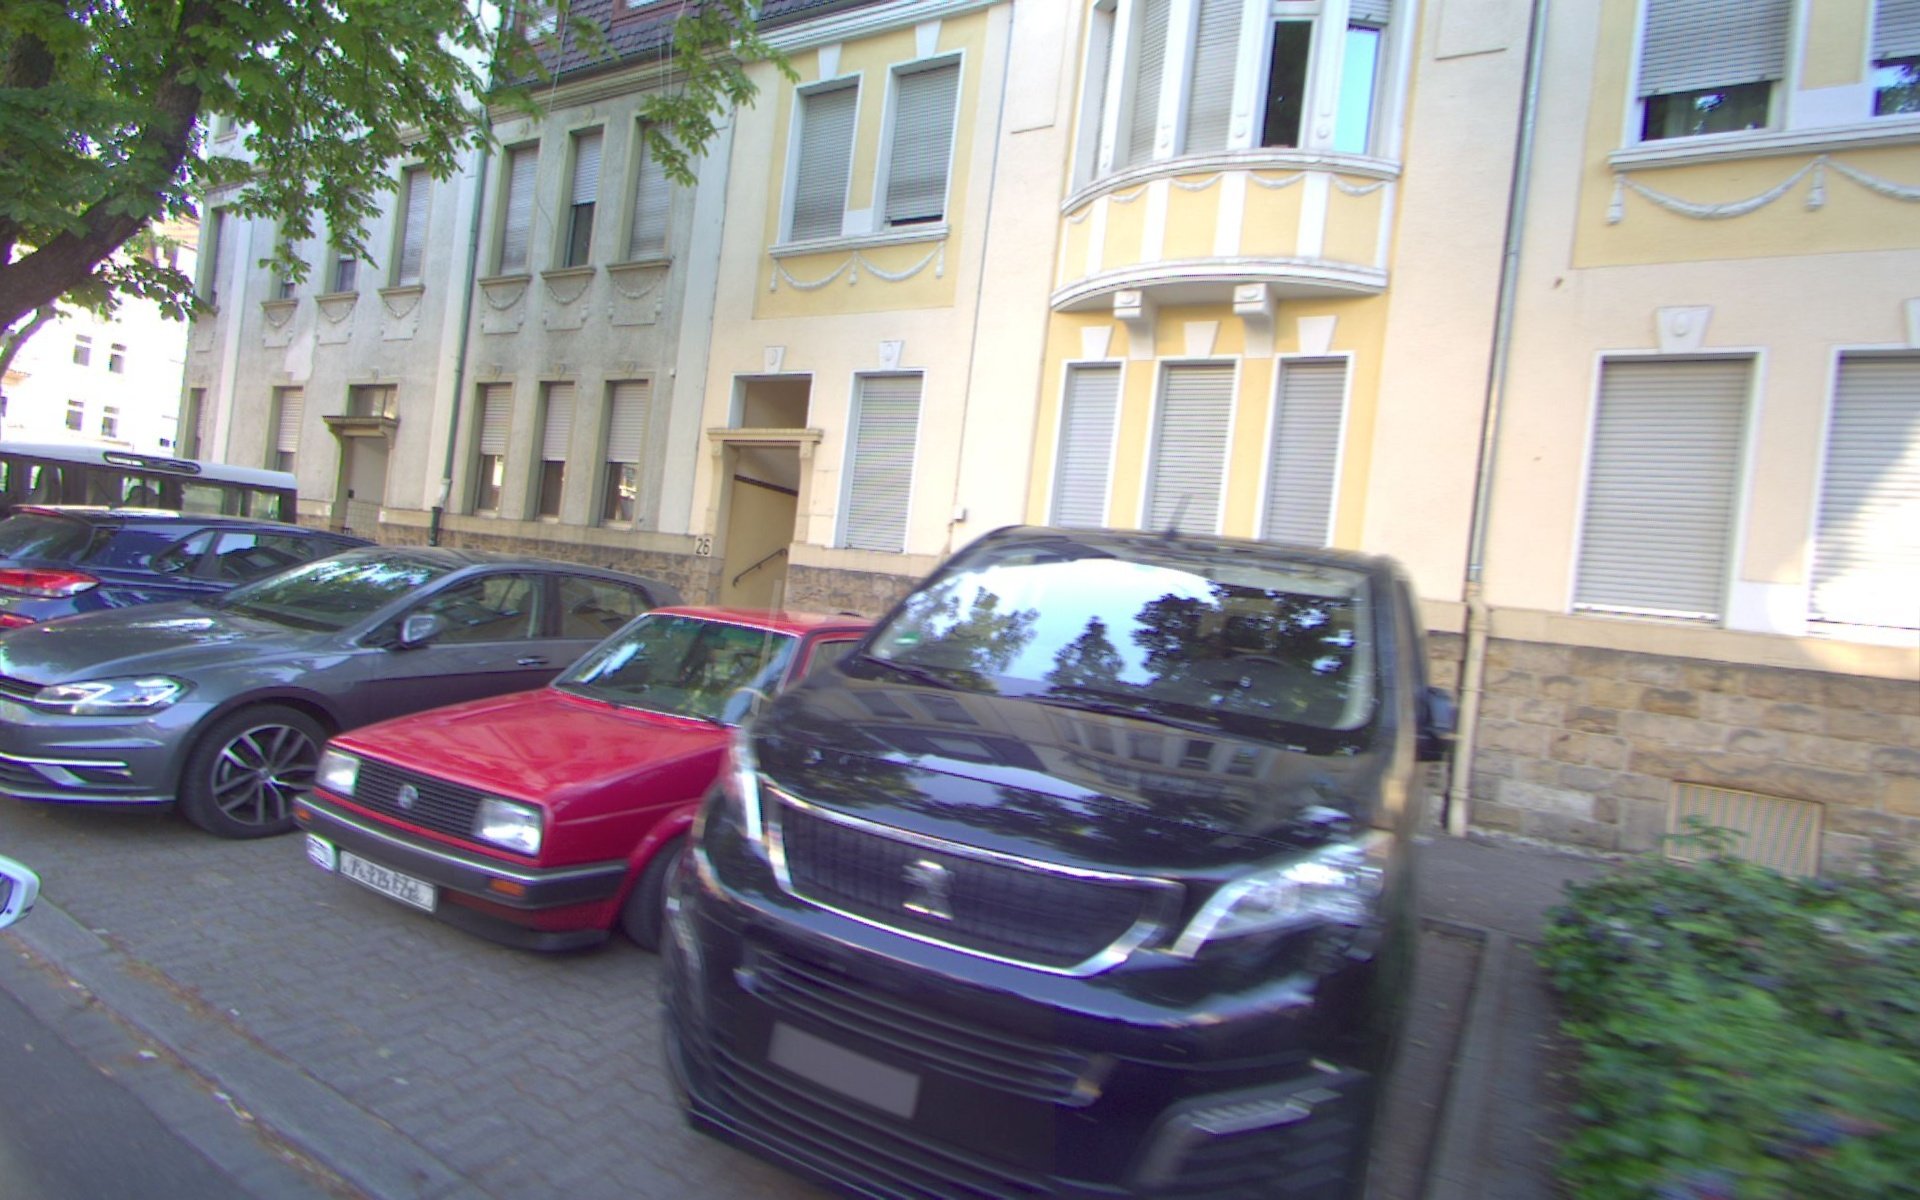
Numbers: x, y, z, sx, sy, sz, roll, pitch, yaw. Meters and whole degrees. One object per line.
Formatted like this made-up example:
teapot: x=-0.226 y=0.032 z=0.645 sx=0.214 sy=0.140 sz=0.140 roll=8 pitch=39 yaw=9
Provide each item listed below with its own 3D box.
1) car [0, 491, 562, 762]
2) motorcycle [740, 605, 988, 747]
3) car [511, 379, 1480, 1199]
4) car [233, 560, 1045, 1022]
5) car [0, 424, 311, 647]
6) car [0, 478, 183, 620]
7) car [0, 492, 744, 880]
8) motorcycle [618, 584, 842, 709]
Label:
car: x=-5.089 y=0.171 z=7.402 sx=1.679 sy=1.470 sz=3.730 roll=7 pitch=0 yaw=28
motorcycle: x=-1.041 y=0.747 z=10.605 sx=2.439 sy=1.087 sz=0.959 roll=7 pitch=2 yaw=32
car: x=0.913 y=0.656 z=4.081 sx=1.864 sy=1.898 sz=4.759 roll=7 pitch=0 yaw=27
car: x=-1.125 y=0.708 z=5.384 sx=1.601 sy=1.332 sz=4.145 roll=7 pitch=0 yaw=27
car: x=-9.607 y=-0.678 z=10.418 sx=1.671 sy=2.061 sz=4.473 roll=7 pitch=0 yaw=28
car: x=-11.981 y=-0.714 z=12.093 sx=1.679 sy=1.589 sz=3.730 roll=7 pitch=0 yaw=28
car: x=-3.353 y=0.376 z=6.039 sx=1.693 sy=1.470 sz=4.060 roll=7 pitch=0 yaw=28
motorcycle: x=-2.791 y=0.511 z=11.986 sx=2.821 sy=1.087 sz=0.694 roll=7 pitch=2 yaw=31
